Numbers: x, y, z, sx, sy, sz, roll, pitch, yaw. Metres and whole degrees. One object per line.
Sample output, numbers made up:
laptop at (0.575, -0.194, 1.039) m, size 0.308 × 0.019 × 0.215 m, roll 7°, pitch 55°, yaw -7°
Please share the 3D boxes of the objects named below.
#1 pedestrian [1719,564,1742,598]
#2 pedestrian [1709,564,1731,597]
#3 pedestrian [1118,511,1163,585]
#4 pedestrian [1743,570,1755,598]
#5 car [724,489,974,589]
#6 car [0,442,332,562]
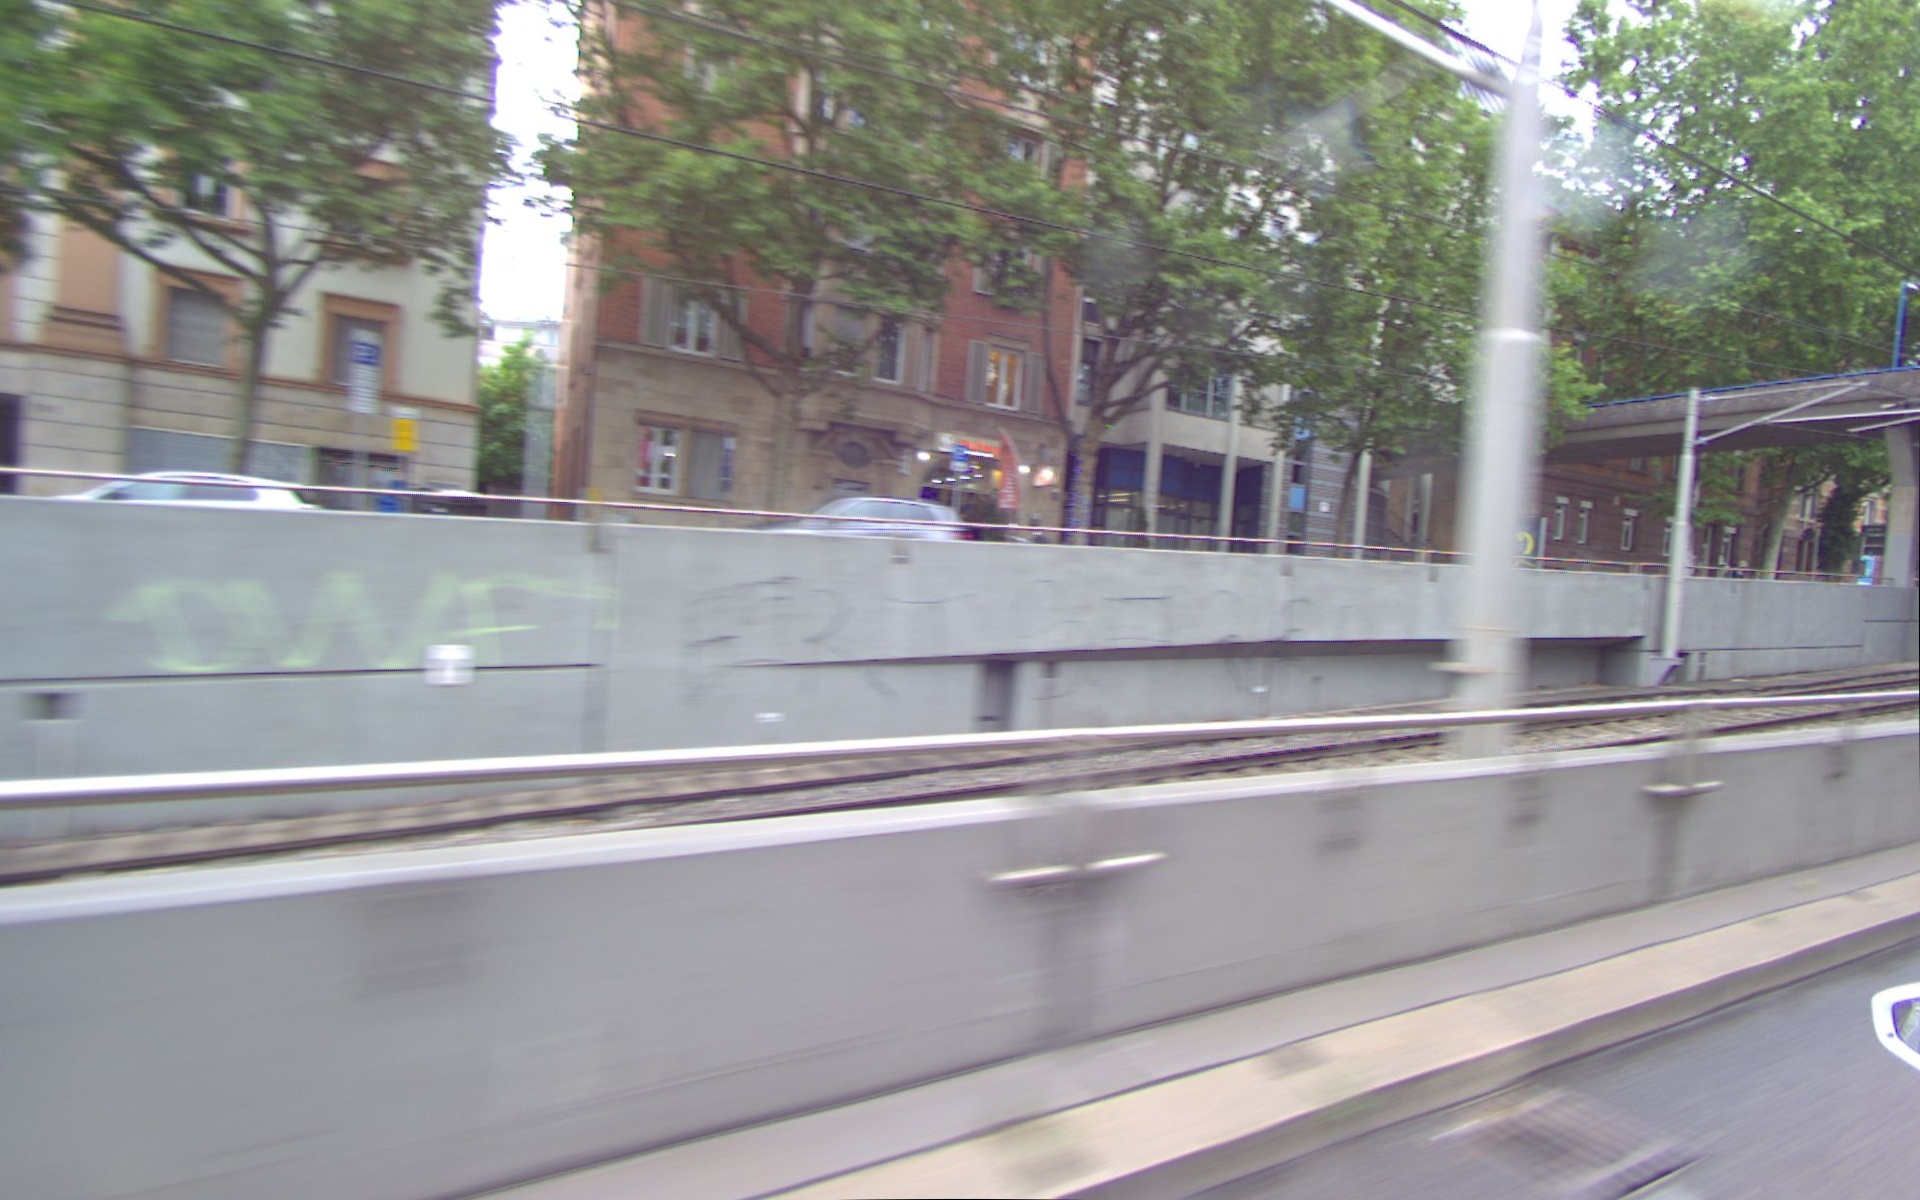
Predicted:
pedestrian at (37.819, -0.942, 49.286) m, size 0.712 × 1.646 × 0.592 m, roll 0°, pitch 1°, yaw -21°
pedestrian at (37.938, -0.986, 50.149) m, size 0.712 × 1.646 × 0.592 m, roll 0°, pitch 1°, yaw -21°
pedestrian at (5.176, -1.494, 28.878) m, size 0.922 × 2.041 × 0.667 m, roll 2°, pitch 4°, yaw -26°
pedestrian at (38.379, -0.785, 48.869) m, size 0.499 × 1.352 × 0.332 m, roll -1°, pitch 2°, yaw -36°
car at (-1.981, -1.065, 18.022) m, size 4.056 × 1.531 × 1.787 m, roll 1°, pitch 4°, yaw -28°
car at (-12.843, -1.551, 16.586) m, size 4.061 × 1.633 × 1.786 m, roll 1°, pitch 4°, yaw -29°
